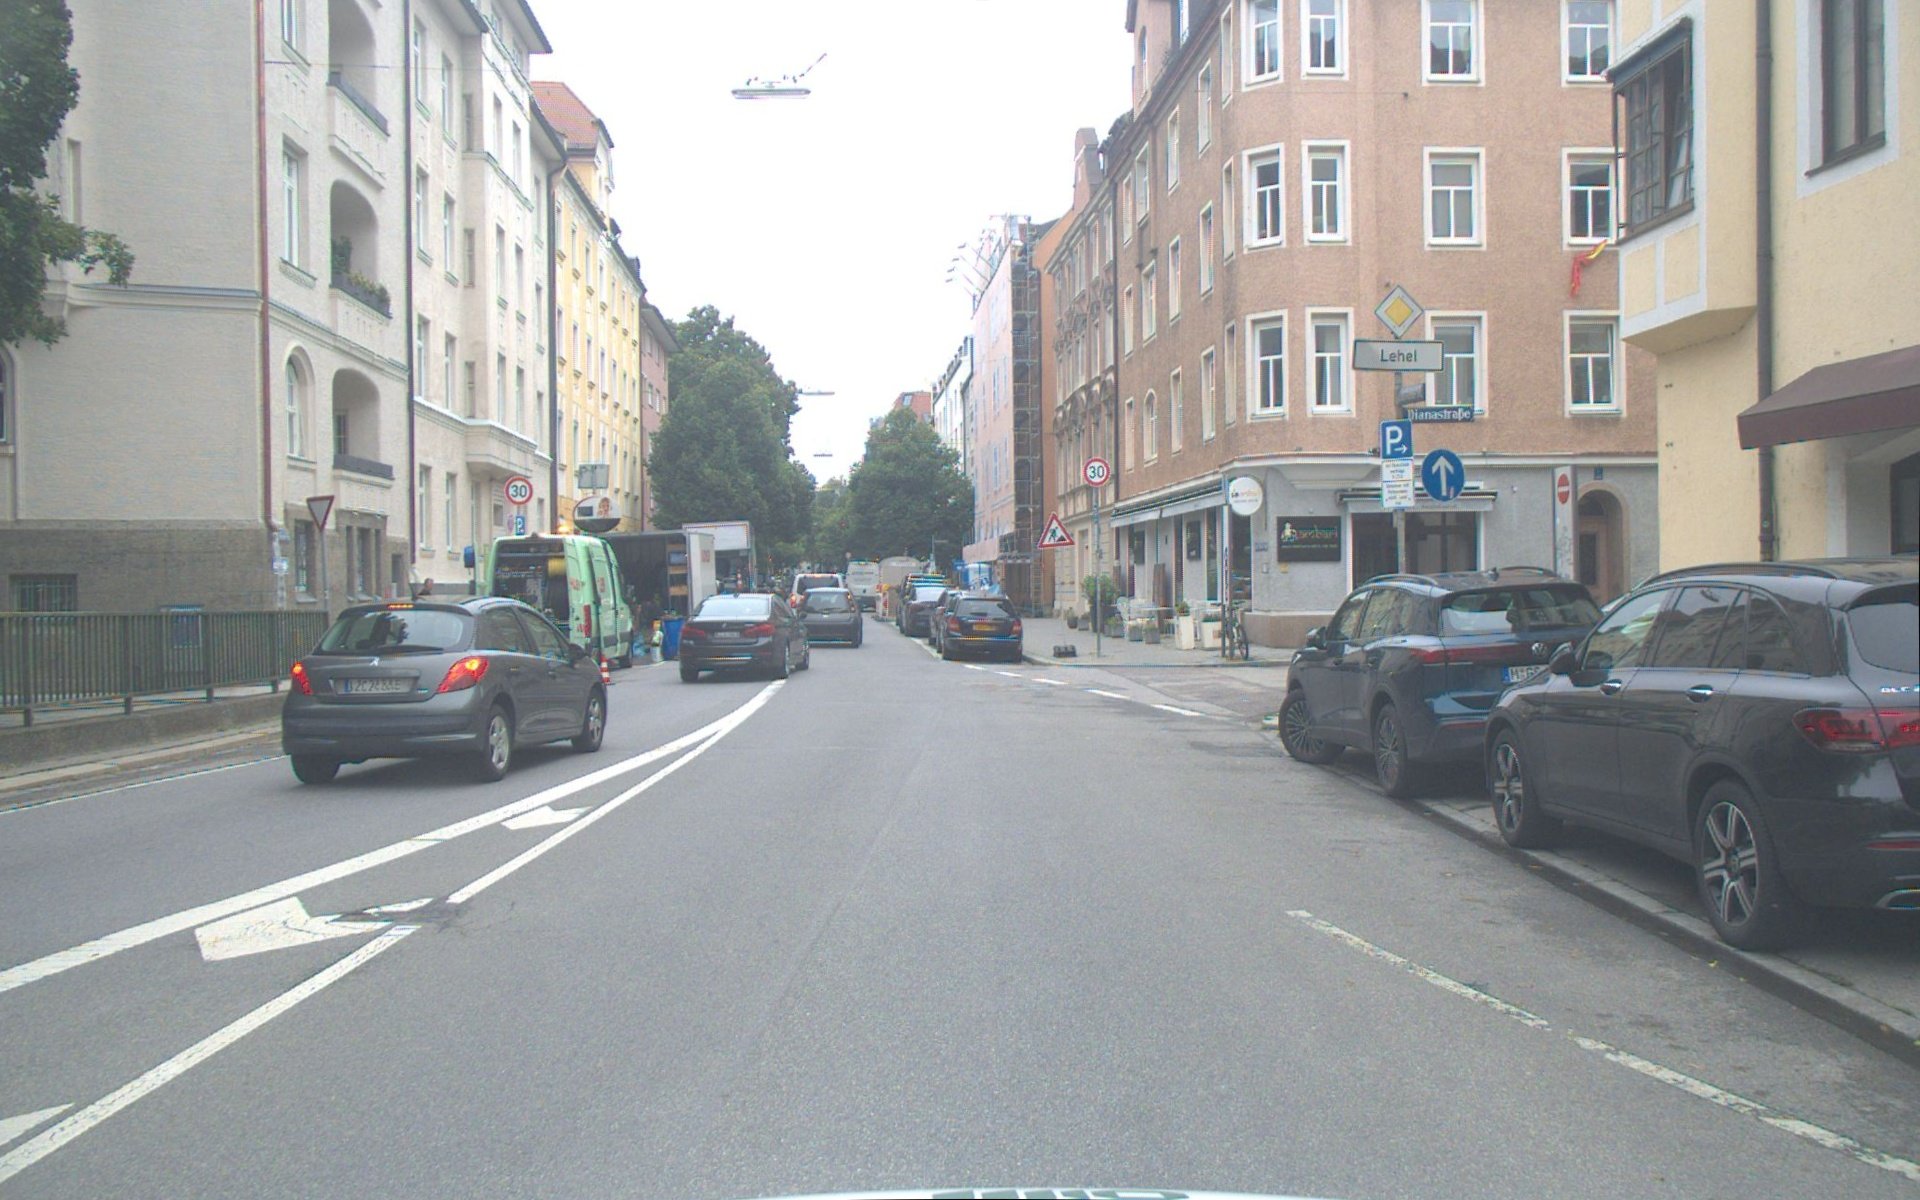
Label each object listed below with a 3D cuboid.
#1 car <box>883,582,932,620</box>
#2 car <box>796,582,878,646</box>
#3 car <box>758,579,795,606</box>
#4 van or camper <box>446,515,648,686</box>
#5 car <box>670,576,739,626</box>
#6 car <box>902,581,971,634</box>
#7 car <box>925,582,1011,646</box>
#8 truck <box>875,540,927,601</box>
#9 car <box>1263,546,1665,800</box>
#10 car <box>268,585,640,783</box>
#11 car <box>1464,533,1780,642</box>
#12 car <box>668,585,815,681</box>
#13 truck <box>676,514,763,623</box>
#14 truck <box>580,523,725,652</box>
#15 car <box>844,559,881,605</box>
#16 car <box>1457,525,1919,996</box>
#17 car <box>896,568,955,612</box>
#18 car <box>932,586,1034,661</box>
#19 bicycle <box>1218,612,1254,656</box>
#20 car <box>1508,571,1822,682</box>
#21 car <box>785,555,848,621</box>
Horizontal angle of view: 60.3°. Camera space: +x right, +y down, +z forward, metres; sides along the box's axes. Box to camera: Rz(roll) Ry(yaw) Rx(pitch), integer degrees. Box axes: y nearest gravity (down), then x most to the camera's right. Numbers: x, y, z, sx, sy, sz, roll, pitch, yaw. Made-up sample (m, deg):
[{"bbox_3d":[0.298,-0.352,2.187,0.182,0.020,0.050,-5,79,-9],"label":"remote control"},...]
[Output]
[{"bbox_3d":[-2.218,0.030,68.914,1.950,1.454,4.138,-1,1,-3],"label":"car"},{"bbox_3d":[-3.095,0.311,42.245,1.950,1.454,4.138,-1,1,-3],"label":"car"},{"bbox_3d":[-10.212,-0.447,92.063,1.901,1.473,3.862,0,1,-5],"label":"car"},{"bbox_3d":[-7.637,-0.077,31.363,2.549,2.889,6.182,-1,1,-3],"label":"van or camper"},{"bbox_3d":[-8.819,0.008,57.312,1.950,1.638,4.138,0,1,-3],"label":"car"},{"bbox_3d":[-0.775,0.203,51.260,1.808,1.454,4.302,2,1,-5],"label":"car"},{"bbox_3d":[0.162,0.320,42.766,1.808,1.454,4.136,2,1,-5],"label":"car"},{"bbox_3d":[-3.091,-1.497,85.015,2.443,3.025,5.323,0,1,-4],"label":"truck"},{"bbox_3d":[3.961,0.494,13.874,1.782,1.708,4.508,-2,0,-2],"label":"car"},{"bbox_3d":[-4.268,0.629,14.679,1.721,1.486,4.077,-1,0,5],"label":"car"},{"bbox_3d":[12.243,-0.206,30.817,5.026,1.886,2.098,-1,-1,-4],"label":"car"},{"bbox_3d":[-3.790,0.522,29.528,1.949,1.454,4.906,-1,1,0],"label":"car"},{"bbox_3d":[-9.344,-1.215,64.845,2.954,4.020,6.988,0,1,-5],"label":"truck"},{"bbox_3d":[-7.622,-0.382,41.832,2.718,2.923,7.197,-1,1,-4],"label":"truck"},{"bbox_3d":[-5.368,-0.998,91.744,1.900,2.523,4.781,0,1,-2],"label":"car"},{"bbox_3d":[4.117,0.534,8.391,1.721,1.708,4.706,-2,1,0],"label":"car"},{"bbox_3d":[-1.260,-0.381,59.203,1.950,1.454,4.138,-1,1,-3],"label":"car"},{"bbox_3d":[0.454,0.475,36.908,1.808,1.454,4.179,2,1,-5],"label":"car"},{"bbox_3d":[5.399,0.654,32.402,0.447,0.819,1.326,0,0,-2],"label":"bicycle"},{"bbox_3d":[10.424,0.365,24.635,3.956,1.482,1.746,-1,2,-2],"label":"car"},{"bbox_3d":[-4.742,-0.439,55.094,1.950,2.111,4.138,-1,1,-3],"label":"car"}]
